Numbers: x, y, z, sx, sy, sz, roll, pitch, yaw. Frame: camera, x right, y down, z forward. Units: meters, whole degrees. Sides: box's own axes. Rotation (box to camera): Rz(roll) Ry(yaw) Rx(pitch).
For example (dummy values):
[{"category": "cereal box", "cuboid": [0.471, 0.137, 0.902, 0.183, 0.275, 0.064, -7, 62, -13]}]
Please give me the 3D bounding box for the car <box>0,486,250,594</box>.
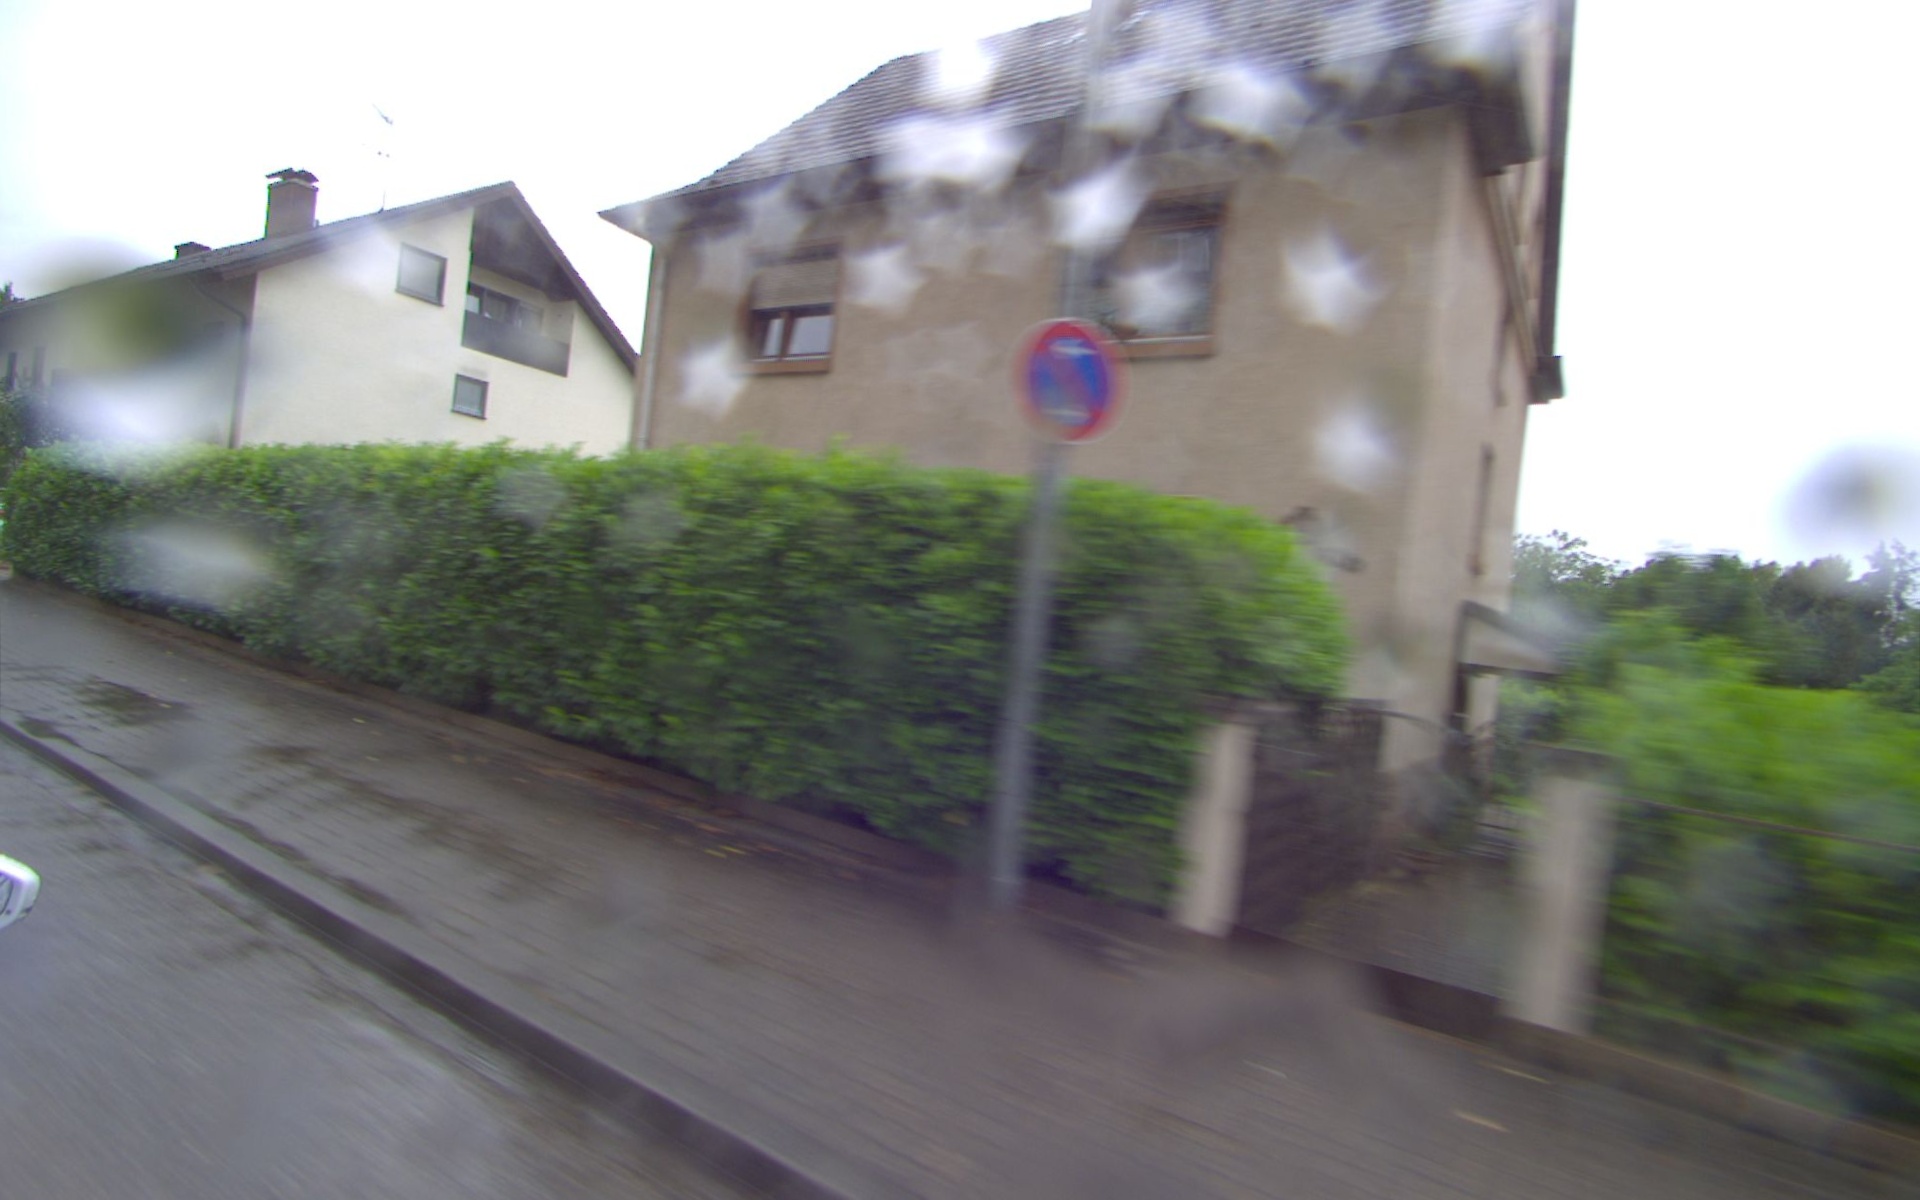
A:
[{"category": "car", "cuboid": [-16.949, -1.190, 19.980, 1.674, 1.462, 4.230, 8, -2, 32]}]
